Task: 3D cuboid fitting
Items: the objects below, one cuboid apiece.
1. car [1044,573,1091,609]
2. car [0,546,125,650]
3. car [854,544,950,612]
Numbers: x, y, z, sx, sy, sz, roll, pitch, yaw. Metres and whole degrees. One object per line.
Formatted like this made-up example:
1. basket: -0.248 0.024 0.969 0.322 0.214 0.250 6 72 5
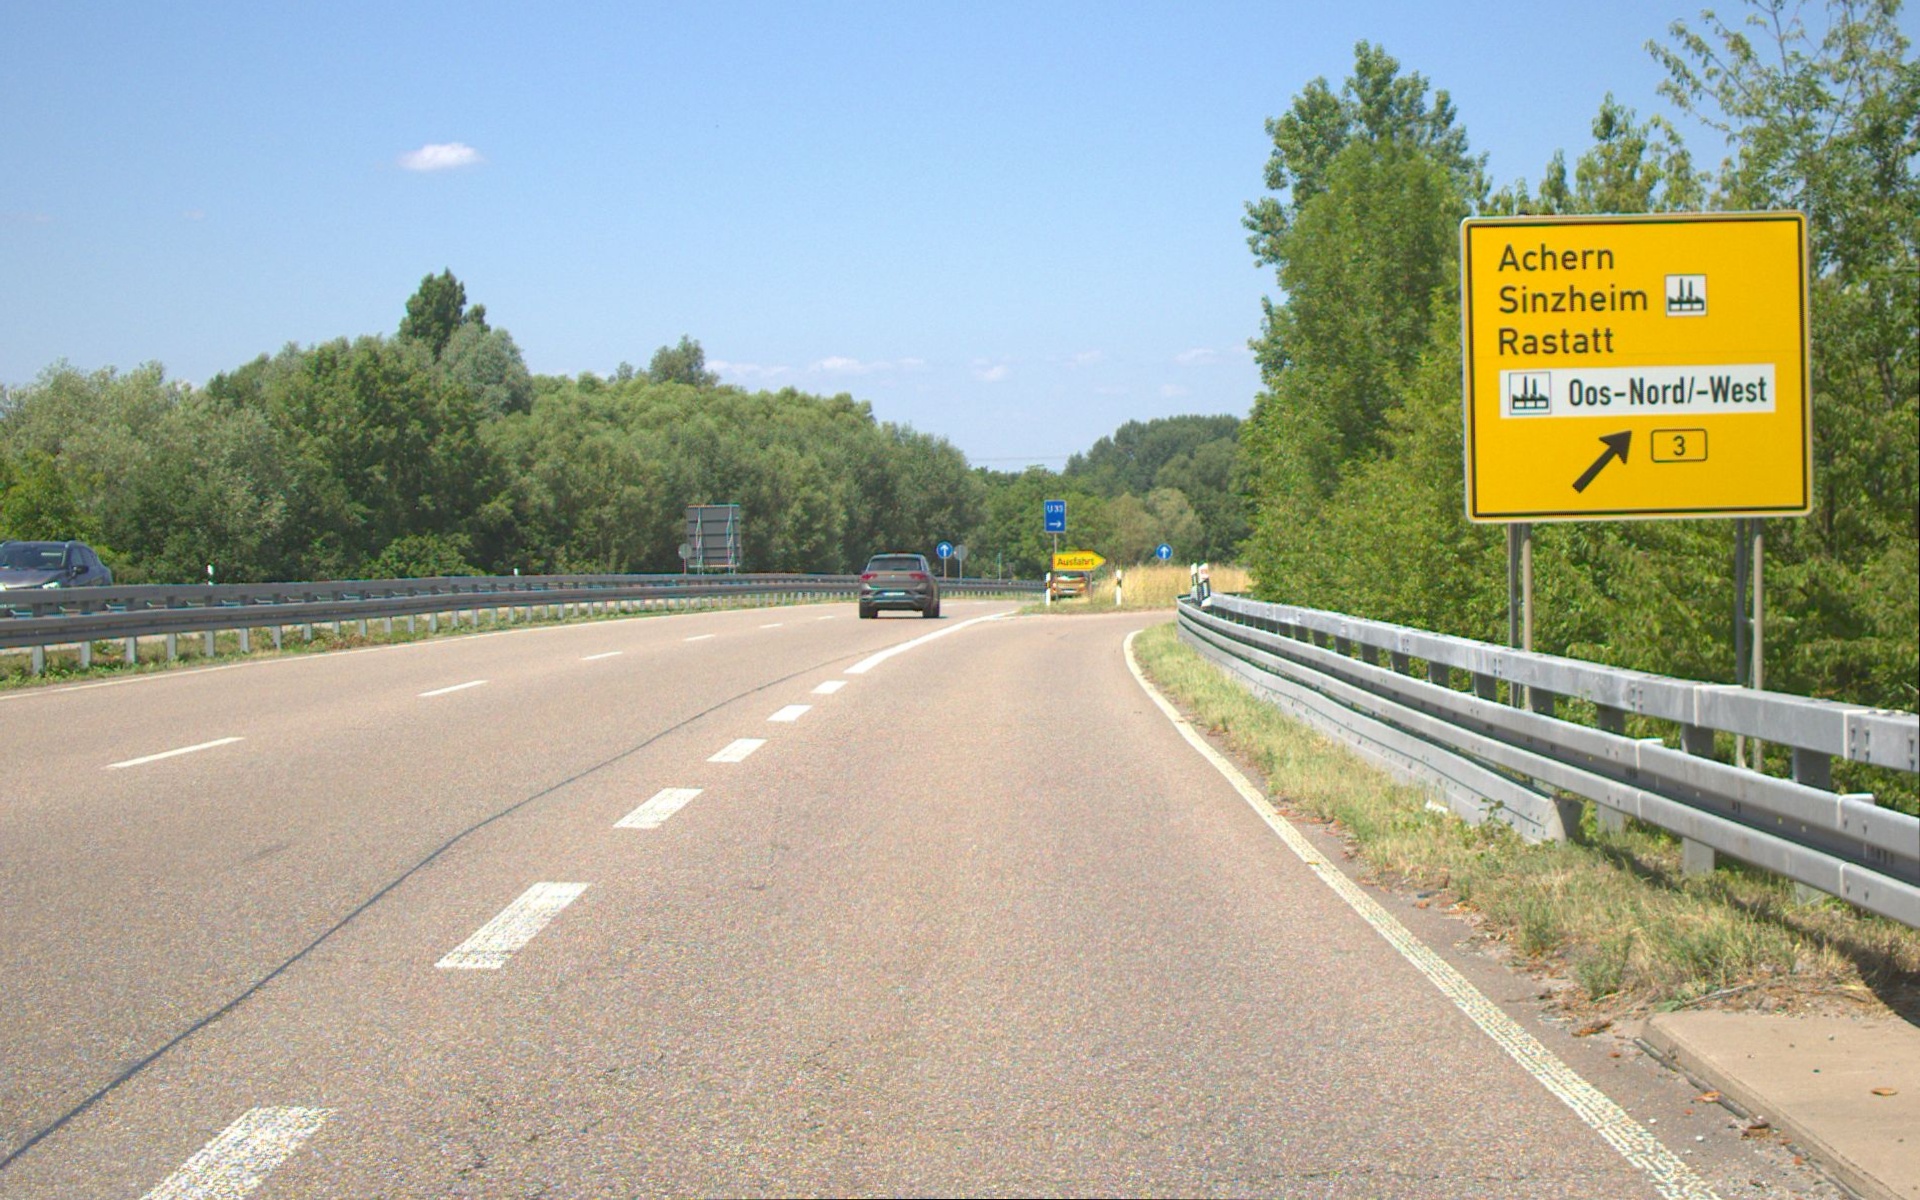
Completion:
1. car: 4.832 -0.423 153.971 1.841 1.459 4.000 1 2 5
2. car: -15.228 -0.047 56.677 1.825 1.642 4.189 0 1 1
3. car: -1.390 -0.563 84.059 1.841 1.524 4.469 1 2 5
